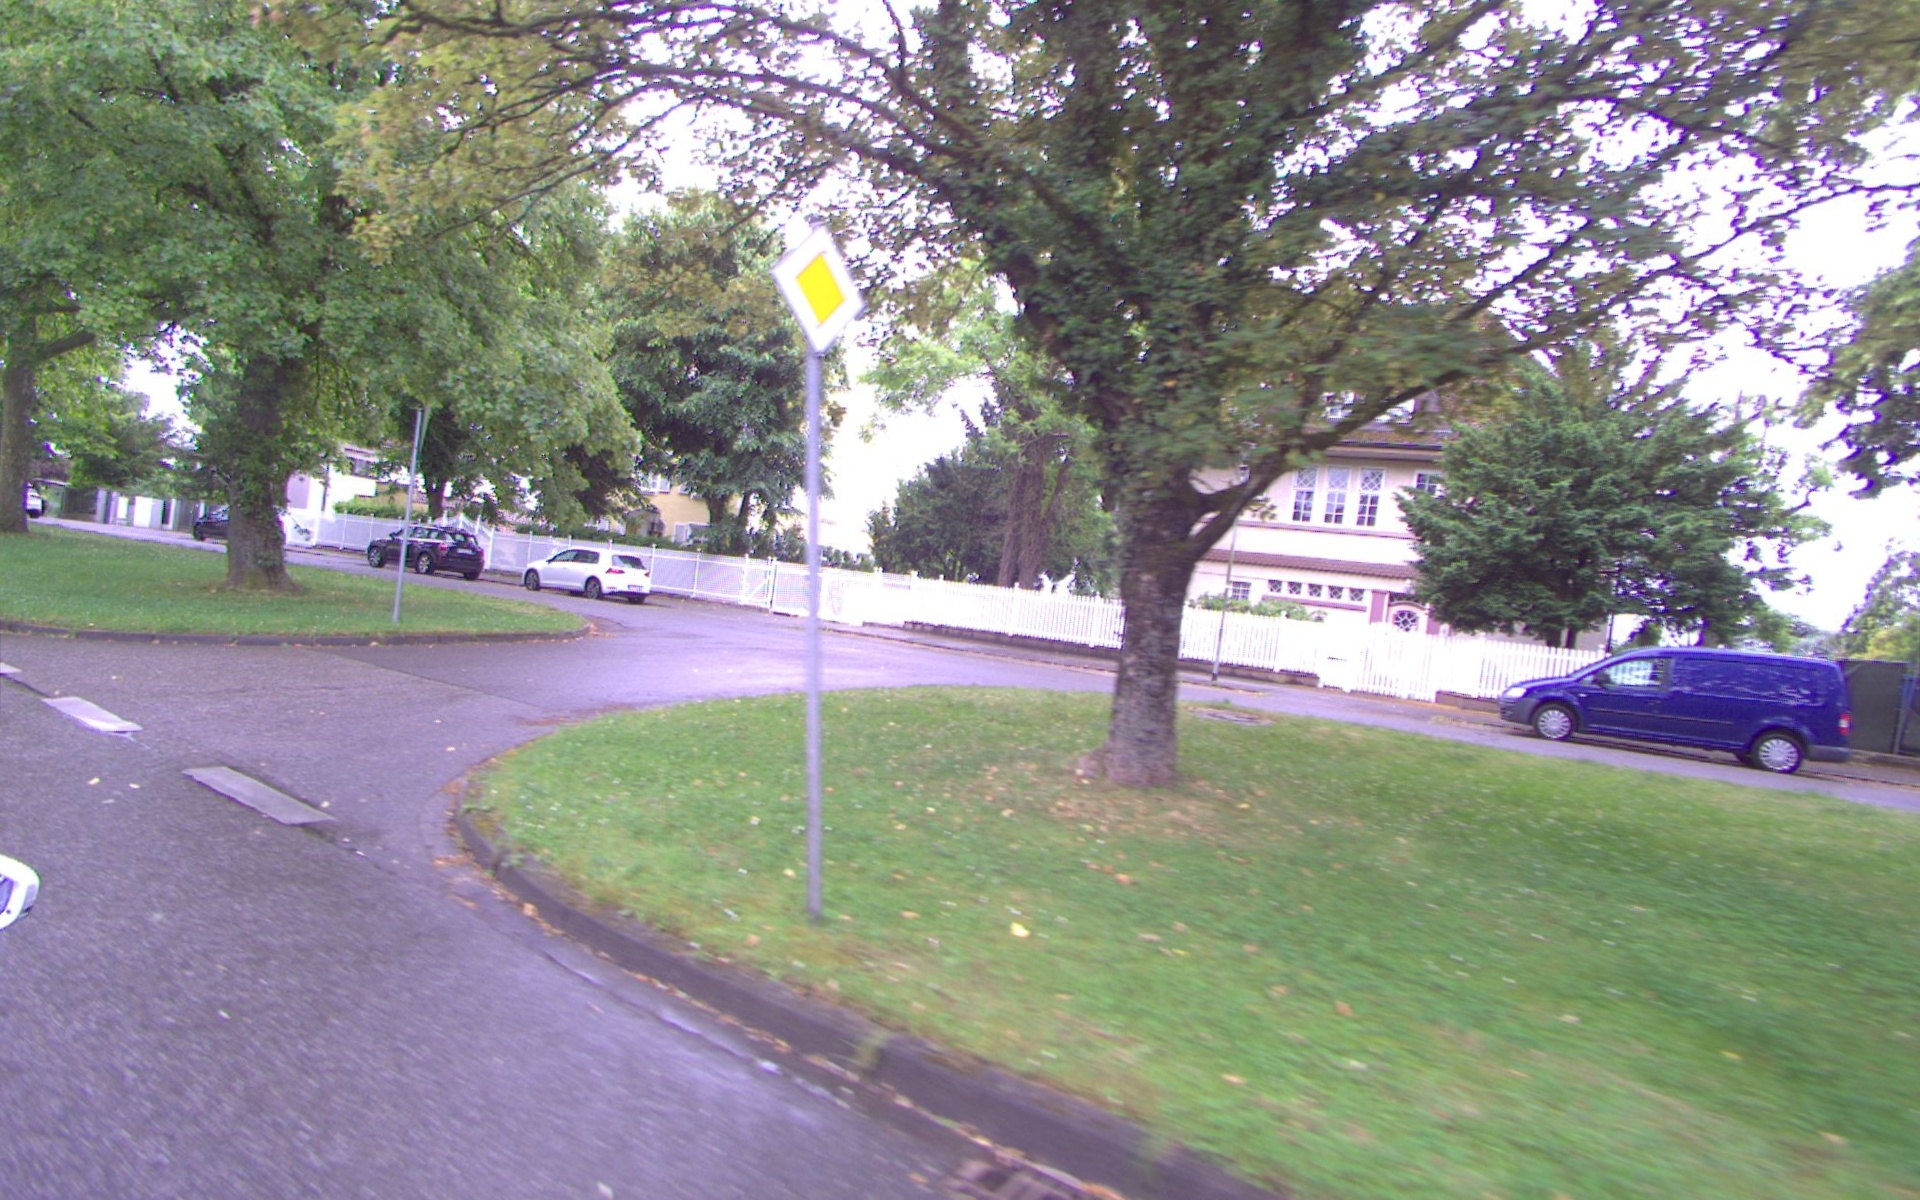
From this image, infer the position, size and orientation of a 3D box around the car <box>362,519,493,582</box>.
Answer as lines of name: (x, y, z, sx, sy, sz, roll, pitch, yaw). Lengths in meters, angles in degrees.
car: (-17.266, -1.617, 32.605, 4.042, 1.549, 1.804, 7, 1, 30)

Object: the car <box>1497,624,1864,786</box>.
car: (11.680, 1.620, 16.800, 4.569, 1.833, 1.943, 8, 2, 30)

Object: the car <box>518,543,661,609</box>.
car: (-10.779, -0.703, 29.214, 3.941, 1.428, 1.618, 7, 1, 29)

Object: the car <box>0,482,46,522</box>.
car: (-40.180, -4.198, 42.130, 3.934, 1.424, 1.804, 7, 2, 33)

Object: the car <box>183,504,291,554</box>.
car: (-27.810, -2.729, 38.686, 4.042, 1.430, 1.804, 7, 1, 30)
